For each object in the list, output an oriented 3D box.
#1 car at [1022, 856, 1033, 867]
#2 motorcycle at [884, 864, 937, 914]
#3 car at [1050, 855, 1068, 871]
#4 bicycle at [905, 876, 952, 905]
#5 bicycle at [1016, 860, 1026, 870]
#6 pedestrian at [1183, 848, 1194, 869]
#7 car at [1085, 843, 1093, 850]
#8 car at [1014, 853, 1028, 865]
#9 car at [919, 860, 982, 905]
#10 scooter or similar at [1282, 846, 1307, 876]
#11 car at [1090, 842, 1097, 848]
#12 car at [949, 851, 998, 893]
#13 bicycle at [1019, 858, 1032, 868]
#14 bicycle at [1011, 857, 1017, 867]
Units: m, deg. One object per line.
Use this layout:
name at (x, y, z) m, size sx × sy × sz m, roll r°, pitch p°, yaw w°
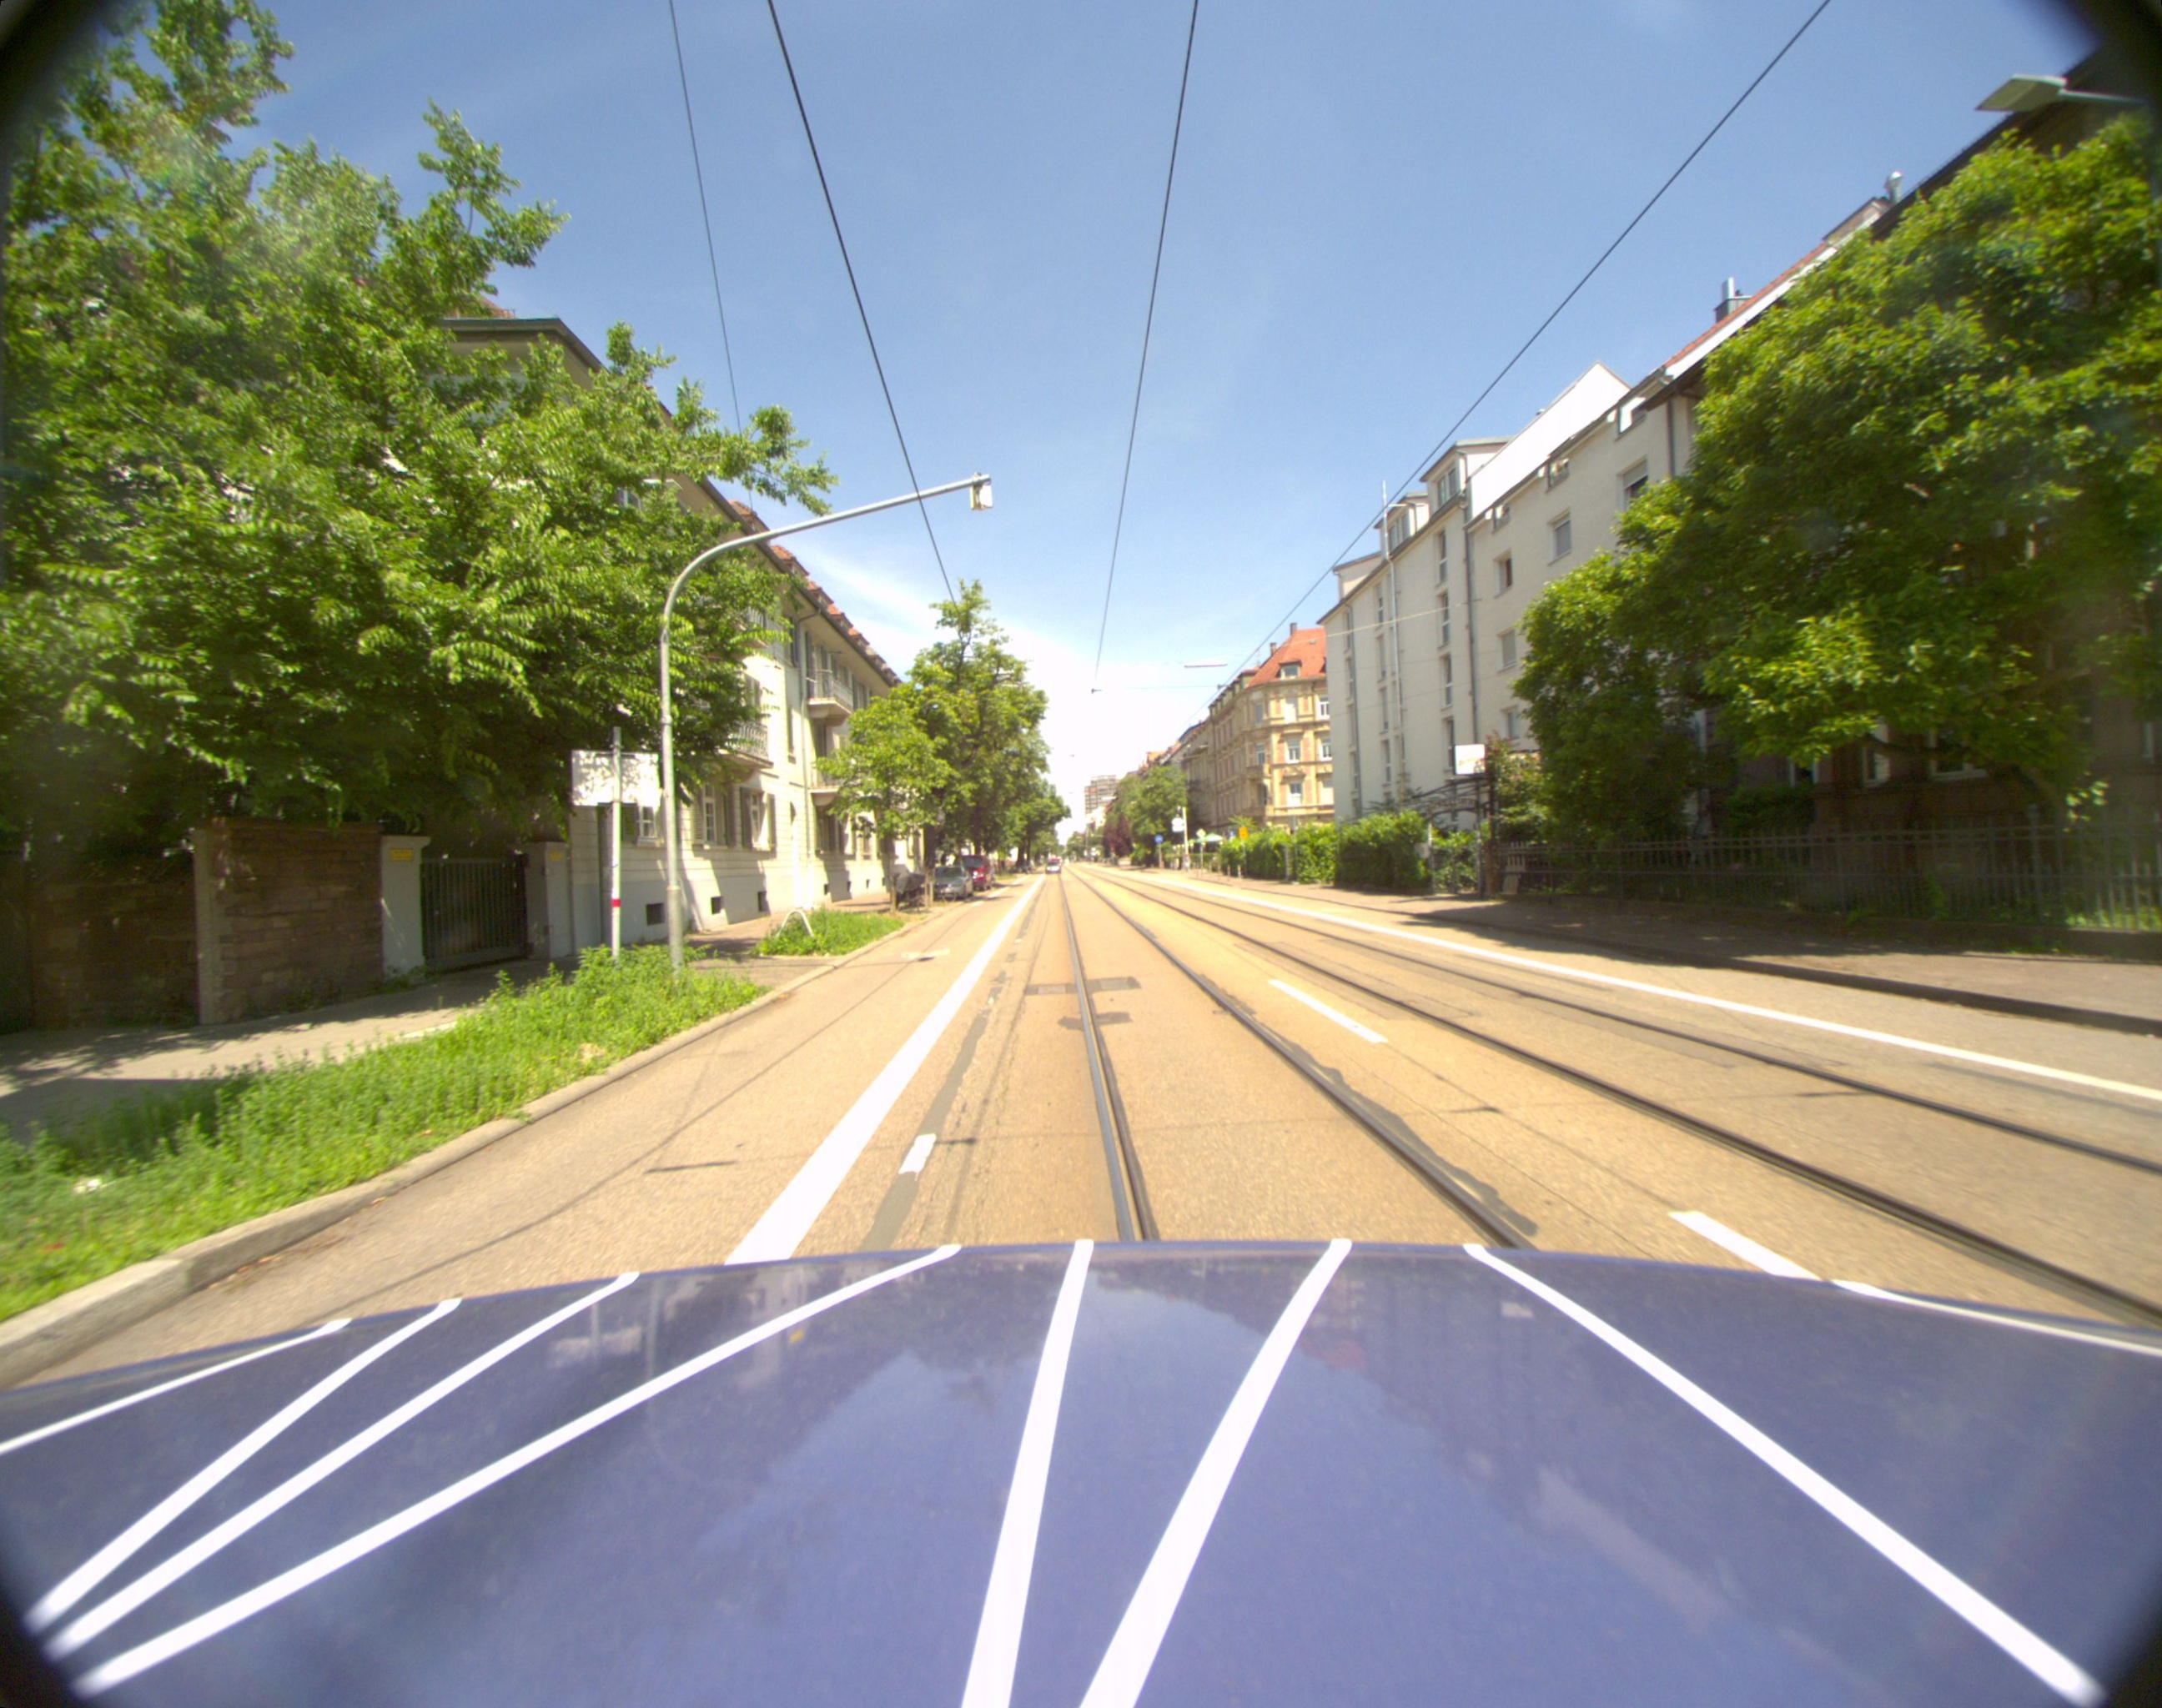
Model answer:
car at (-8.326, 1.181, 118.335) m, size 1.540 × 1.535 × 3.999 m, roll -4°, pitch 1°, yaw -2°
motorcycle at (-5.741, 1.148, 25.745) m, size 0.746 × 1.497 × 2.560 m, roll -3°, pitch 0°, yaw 10°
car at (-2.441, 1.025, 84.878) m, size 1.893 × 1.561 × 4.035 m, roll -4°, pitch 1°, yaw -2°
bicycle at (-5.869, 1.388, 29.242) m, size 1.662 × 1.010 × 0.371 m, roll -3°, pitch 1°, yaw -1°
bicycle at (-7.127, 1.306, 90.253) m, size 1.170 × 1.057 × 0.279 m, roll -4°, pitch 2°, yaw 1°
pedestrian at (8.955, 0.371, 63.445) m, size 0.742 × 1.632 × 0.939 m, roll -3°, pitch 1°, yaw 1°
car at (2.273, -2.219, 217.567) m, size 1.999 × 1.717 × 3.870 m, roll -4°, pitch 2°, yaw -2°
car at (-7.832, 0.669, 99.978) m, size 1.596 × 1.444 × 3.631 m, roll -2°, pitch 0°, yaw -2°
car at (-5.529, 1.159, 32.749) m, size 1.864 × 1.568 × 4.875 m, roll -4°, pitch 1°, yaw -1°
scooter or similar at (10.631, 0.342, 37.820) m, size 1.011 × 1.443 × 0.597 m, roll -4°, pitch 2°, yaw -2°
car at (3.355, -2.273, 198.518) m, size 1.493 × 1.372 × 3.629 m, roll -4°, pitch 1°, yaw -2°
car at (-5.754, 0.893, 41.195) m, size 1.864 × 2.002 × 4.974 m, roll -4°, pitch 1°, yaw -1°
bicycle at (-7.622, 1.254, 104.680) m, size 1.623 × 1.194 × 0.305 m, roll -4°, pitch 2°, yaw 0°
bicycle at (-7.942, 0.948, 90.002) m, size 0.284 × 1.193 × 1.625 m, roll -5°, pitch 2°, yaw -21°
